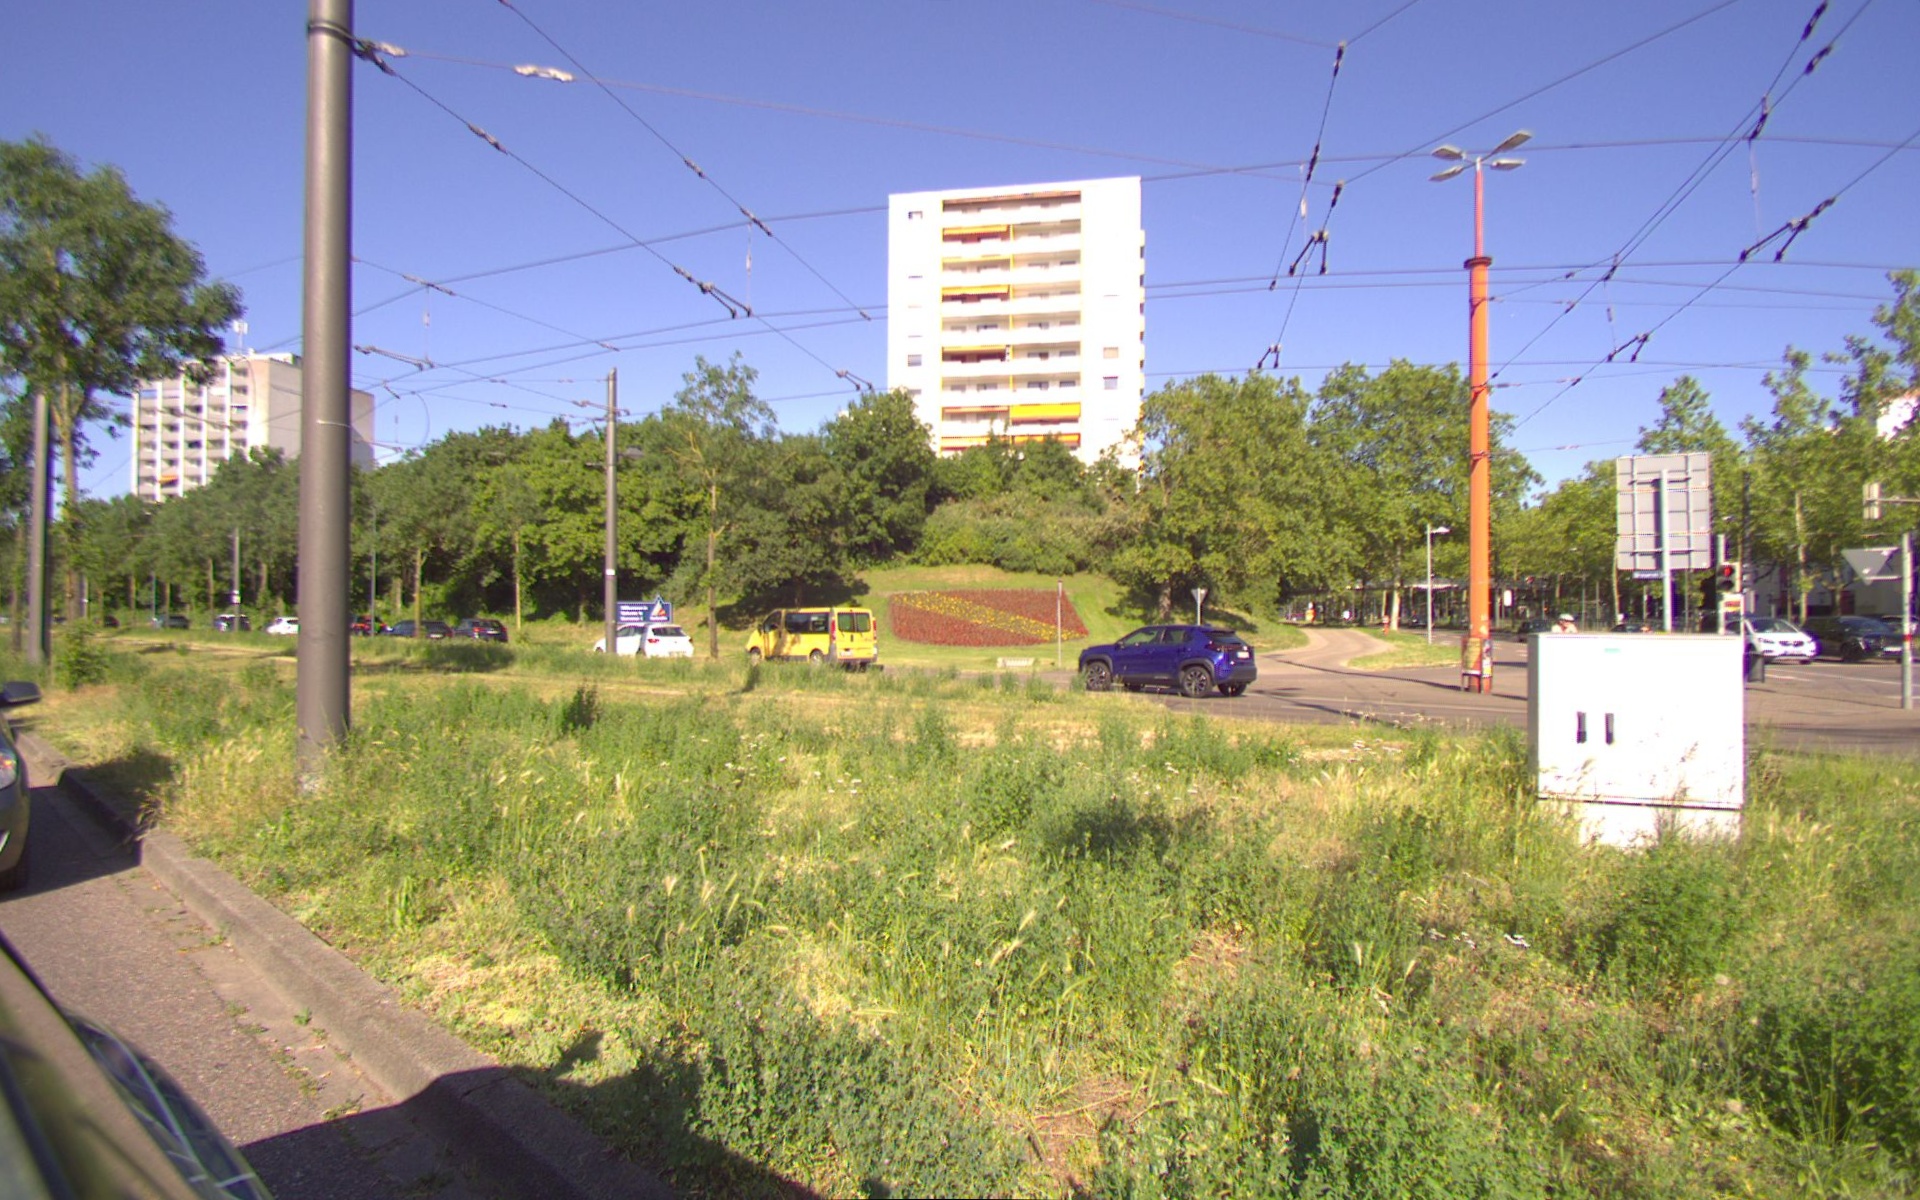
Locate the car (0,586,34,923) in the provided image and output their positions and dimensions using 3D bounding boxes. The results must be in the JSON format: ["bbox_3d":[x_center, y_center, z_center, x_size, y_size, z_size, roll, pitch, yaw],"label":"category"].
[{"bbox_3d":[-6.613,0.770,5.623,3.879,1.634,1.737,-1,-2,41],"label":"car"}]

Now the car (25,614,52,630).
[{"bbox_3d":[-105.490,2.548,115.794,3.998,1.779,1.858,-1,-2,41],"label":"car"}]

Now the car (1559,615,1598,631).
[{"bbox_3d":[79.735,3.006,130.487,3.969,2.029,1.987,-1,-1,20],"label":"car"}]

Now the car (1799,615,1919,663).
[{"bbox_3d":[31.610,1.330,35.391,1.841,1.557,4.241,-1,-1,15],"label":"car"}]

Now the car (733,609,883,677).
[{"bbox_3d":[-4.811,1.340,31.671,4.905,1.981,1.972,-2,-3,42],"label":"car"}]

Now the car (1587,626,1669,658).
[{"bbox_3d":[31.048,1.933,47.162,1.748,1.360,4.344,0,-1,13],"label":"car"}]

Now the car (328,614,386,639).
[{"bbox_3d":[-35.533,1.537,59.626,3.999,1.429,1.843,-1,-2,42],"label":"car"}]

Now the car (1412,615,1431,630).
[{"bbox_3d":[52.924,2.570,116.111,1.840,1.721,4.273,-1,-2,23],"label":"car"}]

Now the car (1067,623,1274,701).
[{"bbox_3d":[4.649,1.309,22.611,4.105,1.586,1.973,-1,-2,41],"label":"car"}]

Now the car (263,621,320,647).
[{"bbox_3d":[-38.401,1.948,58.078,4.000,1.429,1.842,-1,-2,43],"label":"car"}]

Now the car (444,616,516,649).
[{"bbox_3d":[-23.332,1.565,49.144,4.242,1.519,1.768,-1,-2,44],"label":"car"}]

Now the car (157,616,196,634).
[{"bbox_3d":[-67.302,2.120,86.906,3.998,1.497,1.972,-1,-2,41],"label":"car"}]

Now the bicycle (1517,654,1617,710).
[{"bbox_3d":[12.173,1.621,20.340,0.673,0.968,1.650,0,1,-20],"label":"bicycle"}]

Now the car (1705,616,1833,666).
[{"bbox_3d":[28.614,1.421,35.982,1.810,1.648,4.236,0,-1,12],"label":"car"}]

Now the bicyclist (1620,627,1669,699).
[{"bbox_3d":[13.395,1.221,19.805,0.435,1.391,0.631,0,-2,-20],"label":"bicyclist"}]

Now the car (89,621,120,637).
[{"bbox_3d":[-83.973,2.842,99.307,3.998,1.475,1.779,-1,-2,41],"label":"car"}]

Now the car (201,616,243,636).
[{"bbox_3d":[-55.641,1.955,76.272,4.000,1.409,1.822,-1,-2,43],"label":"car"}]

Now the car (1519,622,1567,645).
[{"bbox_3d":[35.807,2.045,62.291,1.752,1.360,4.334,-1,-1,19],"label":"car"}]

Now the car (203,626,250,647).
[{"bbox_3d":[-48.789,2.402,67.297,4.229,1.371,1.801,-1,-2,43],"label":"car"}]

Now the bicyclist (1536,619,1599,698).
[{"bbox_3d":[12.198,1.162,20.332,0.719,1.557,0.770,0,-2,-20],"label":"bicyclist"}]

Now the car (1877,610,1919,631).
[{"bbox_3d":[64.890,1.408,68.405,1.770,1.420,4.010,1,-1,-36],"label":"car"}]

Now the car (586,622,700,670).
[{"bbox_3d":[-10.159,1.423,32.303,4.020,1.418,1.671,-2,-2,42],"label":"car"}]

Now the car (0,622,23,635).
[{"bbox_3d":[-119.408,3.579,126.815,3.985,1.674,1.891,-1,-2,31],"label":"car"}]

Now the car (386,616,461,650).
[{"bbox_3d":[-24.123,1.466,45.477,4.312,1.427,1.774,-2,-2,45],"label":"car"}]

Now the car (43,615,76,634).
[{"bbox_3d":[-86.501,2.382,97.182,3.998,1.779,1.858,-1,-2,41],"label":"car"}]
